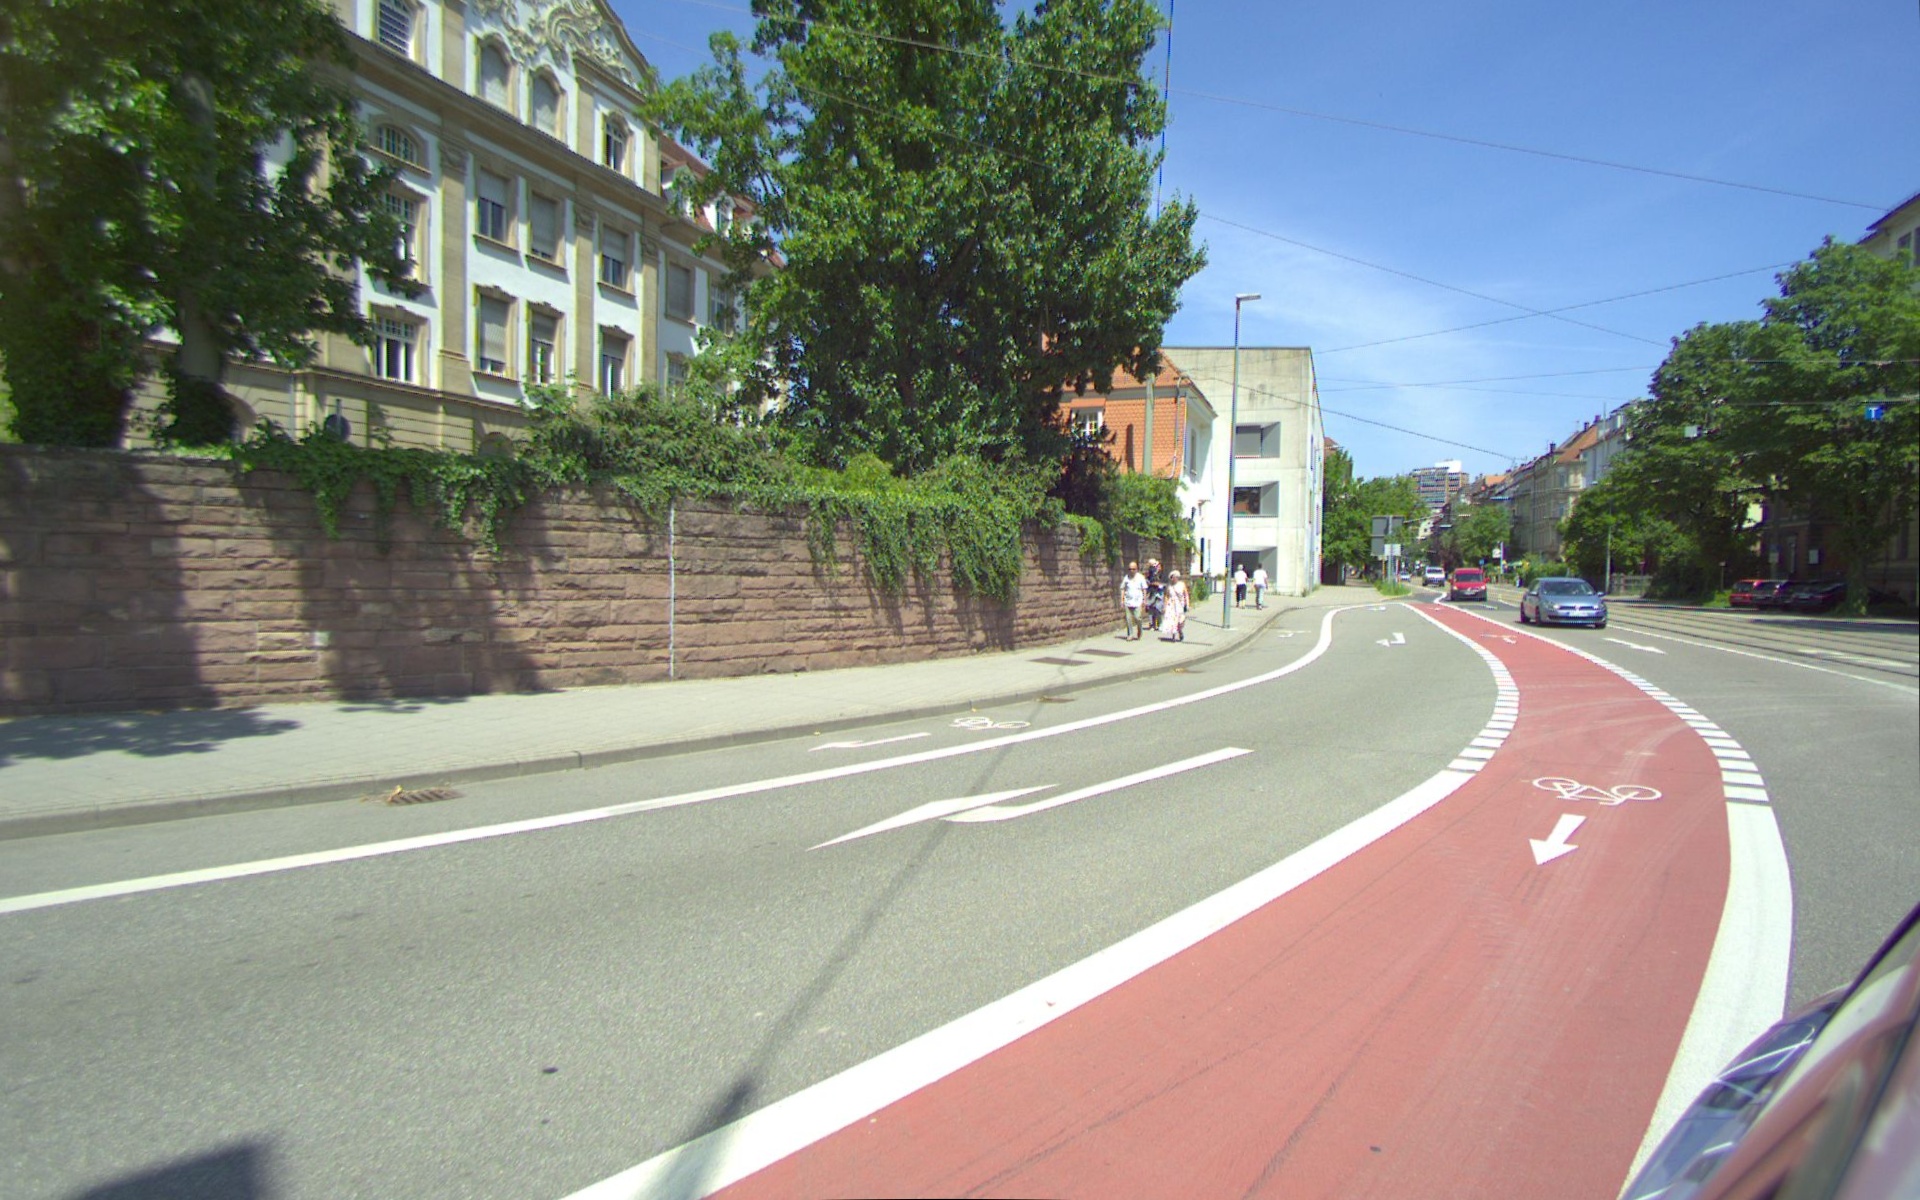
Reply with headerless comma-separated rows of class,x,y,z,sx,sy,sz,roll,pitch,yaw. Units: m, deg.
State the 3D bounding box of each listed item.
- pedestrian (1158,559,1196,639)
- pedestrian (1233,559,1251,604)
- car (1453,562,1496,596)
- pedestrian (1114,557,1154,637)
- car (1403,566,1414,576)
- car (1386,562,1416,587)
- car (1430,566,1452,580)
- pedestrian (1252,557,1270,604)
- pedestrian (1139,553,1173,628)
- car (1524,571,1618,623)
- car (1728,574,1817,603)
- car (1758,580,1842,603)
pedestrian,4.610,-0.025,21.478,0.599,1.631,0.554,4,2,25
pedestrian,10.631,-0.696,38.150,0.484,1.625,0.554,4,2,23
car,28.325,-1.126,55.823,1.813,1.788,4.245,0,0,23
pedestrian,3.671,-0.078,21.349,0.599,1.631,0.554,4,2,25
car,66.044,-4.294,148.901,1.411,1.341,2.962,0,0,25
car,31.697,-1.830,72.748,1.797,1.729,3.972,2,2,22
car,48.036,-2.705,101.162,1.814,1.409,4.245,2,2,24
pedestrian,11.242,-0.721,37.823,0.484,1.733,0.517,4,2,24
pedestrian,4.734,-0.234,24.401,0.598,1.733,0.554,4,2,24
car,18.303,-0.151,30.485,1.812,1.431,3.965,1,2,22
car,42.638,-0.603,53.145,3.506,1.471,1.618,0,0,-6
car,41.056,-0.406,49.486,2.936,1.113,1.279,0,0,4
